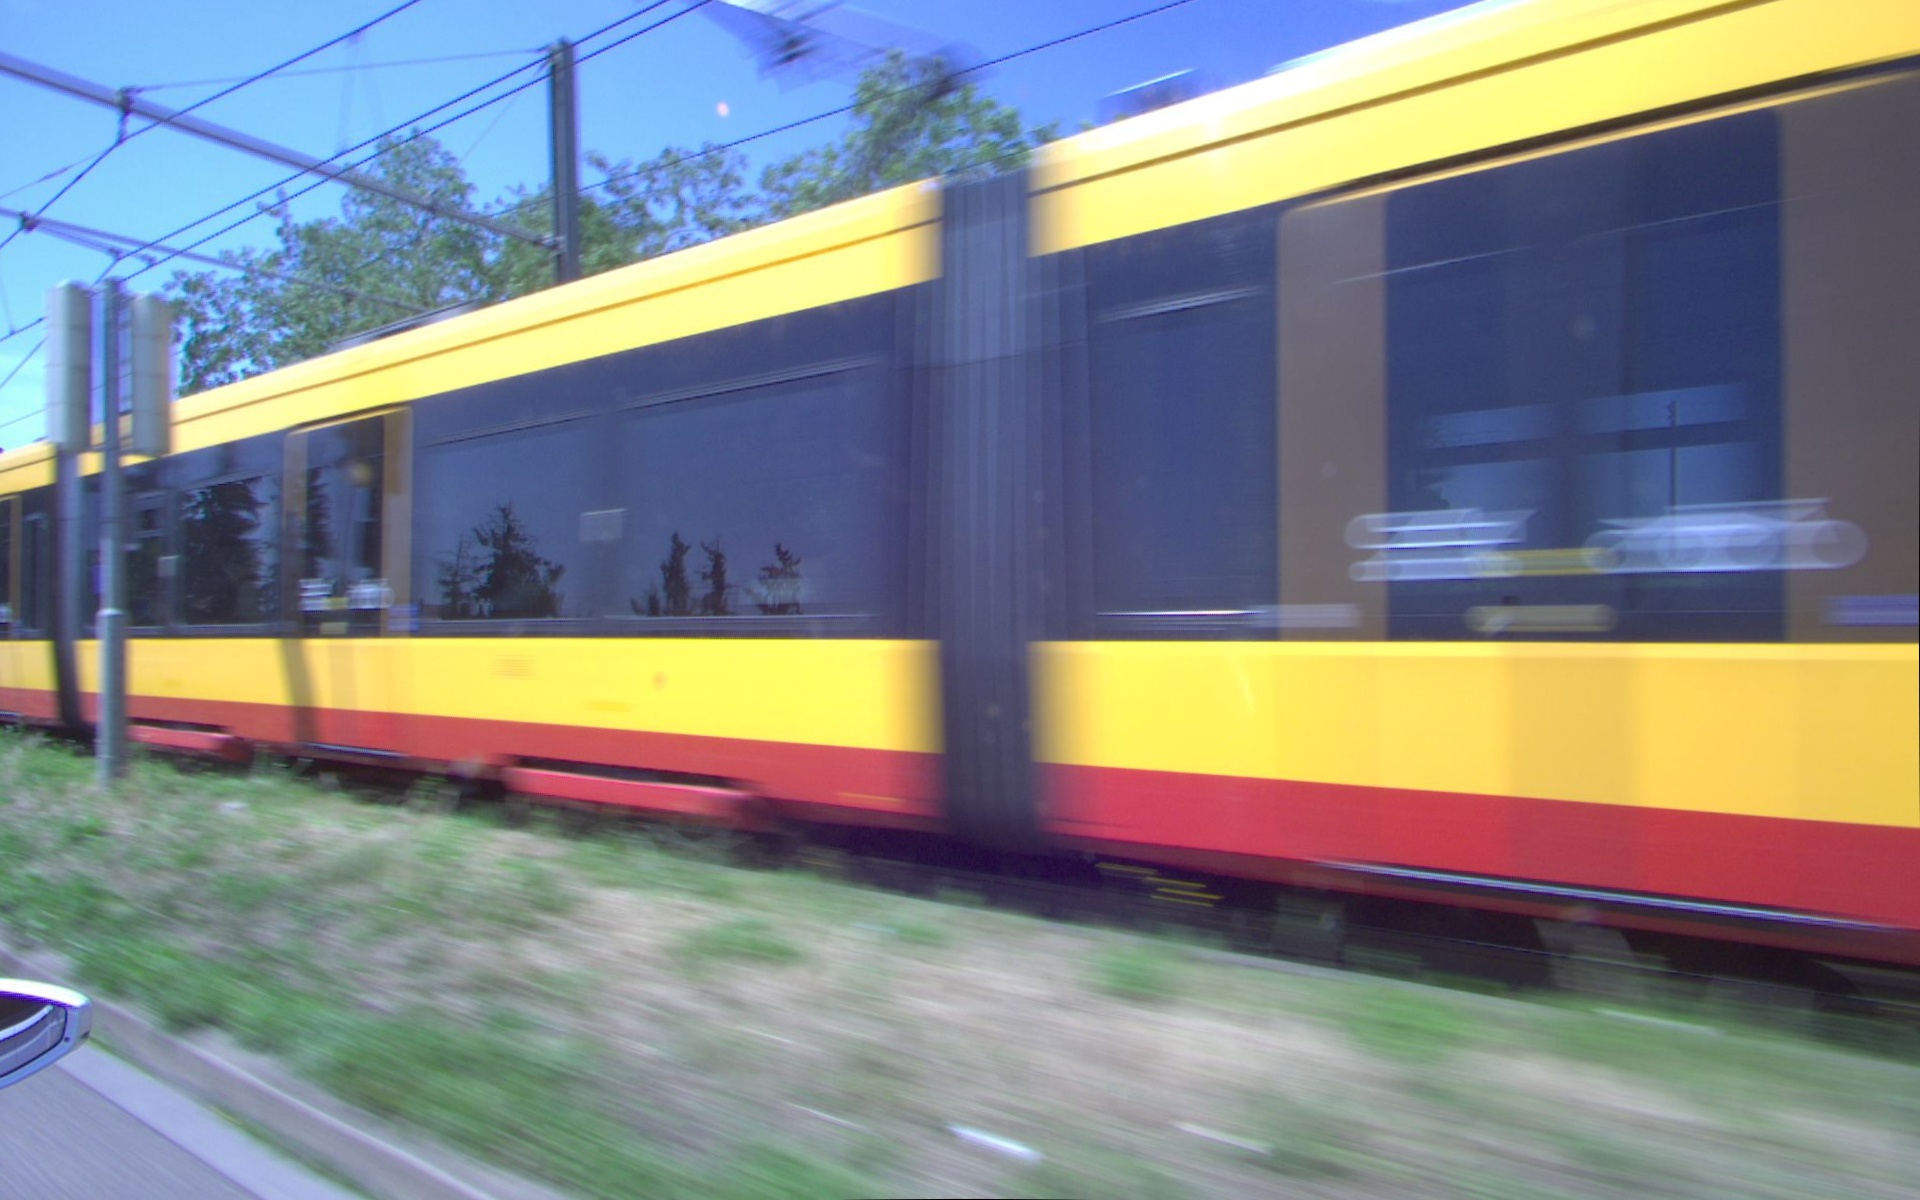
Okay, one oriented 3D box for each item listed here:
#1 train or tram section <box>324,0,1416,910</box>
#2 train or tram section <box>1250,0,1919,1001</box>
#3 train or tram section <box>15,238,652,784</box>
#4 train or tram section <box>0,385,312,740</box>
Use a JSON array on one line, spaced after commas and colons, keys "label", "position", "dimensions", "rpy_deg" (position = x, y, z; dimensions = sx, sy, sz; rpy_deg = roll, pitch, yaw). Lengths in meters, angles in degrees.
[{"label": "train or tram section", "position": [-0.945, -0.702, 6.327], "dimensions": [6.635, 3.762, 2.555], "rpy_deg": [-2, 0, 32]}, {"label": "train or tram section", "position": [6.509, -0.971, 1.556], "dimensions": [11.396, 3.815, 2.424], "rpy_deg": [-2, 0, 32]}, {"label": "train or tram section", "position": [-6.412, -0.515, 9.932], "dimensions": [6.635, 3.815, 2.695], "rpy_deg": [-2, 0, 32]}, {"label": "train or tram section", "position": [-13.774, -0.219, 14.688], "dimensions": [11.029, 3.737, 2.759], "rpy_deg": [-2, 0, 32]}]
